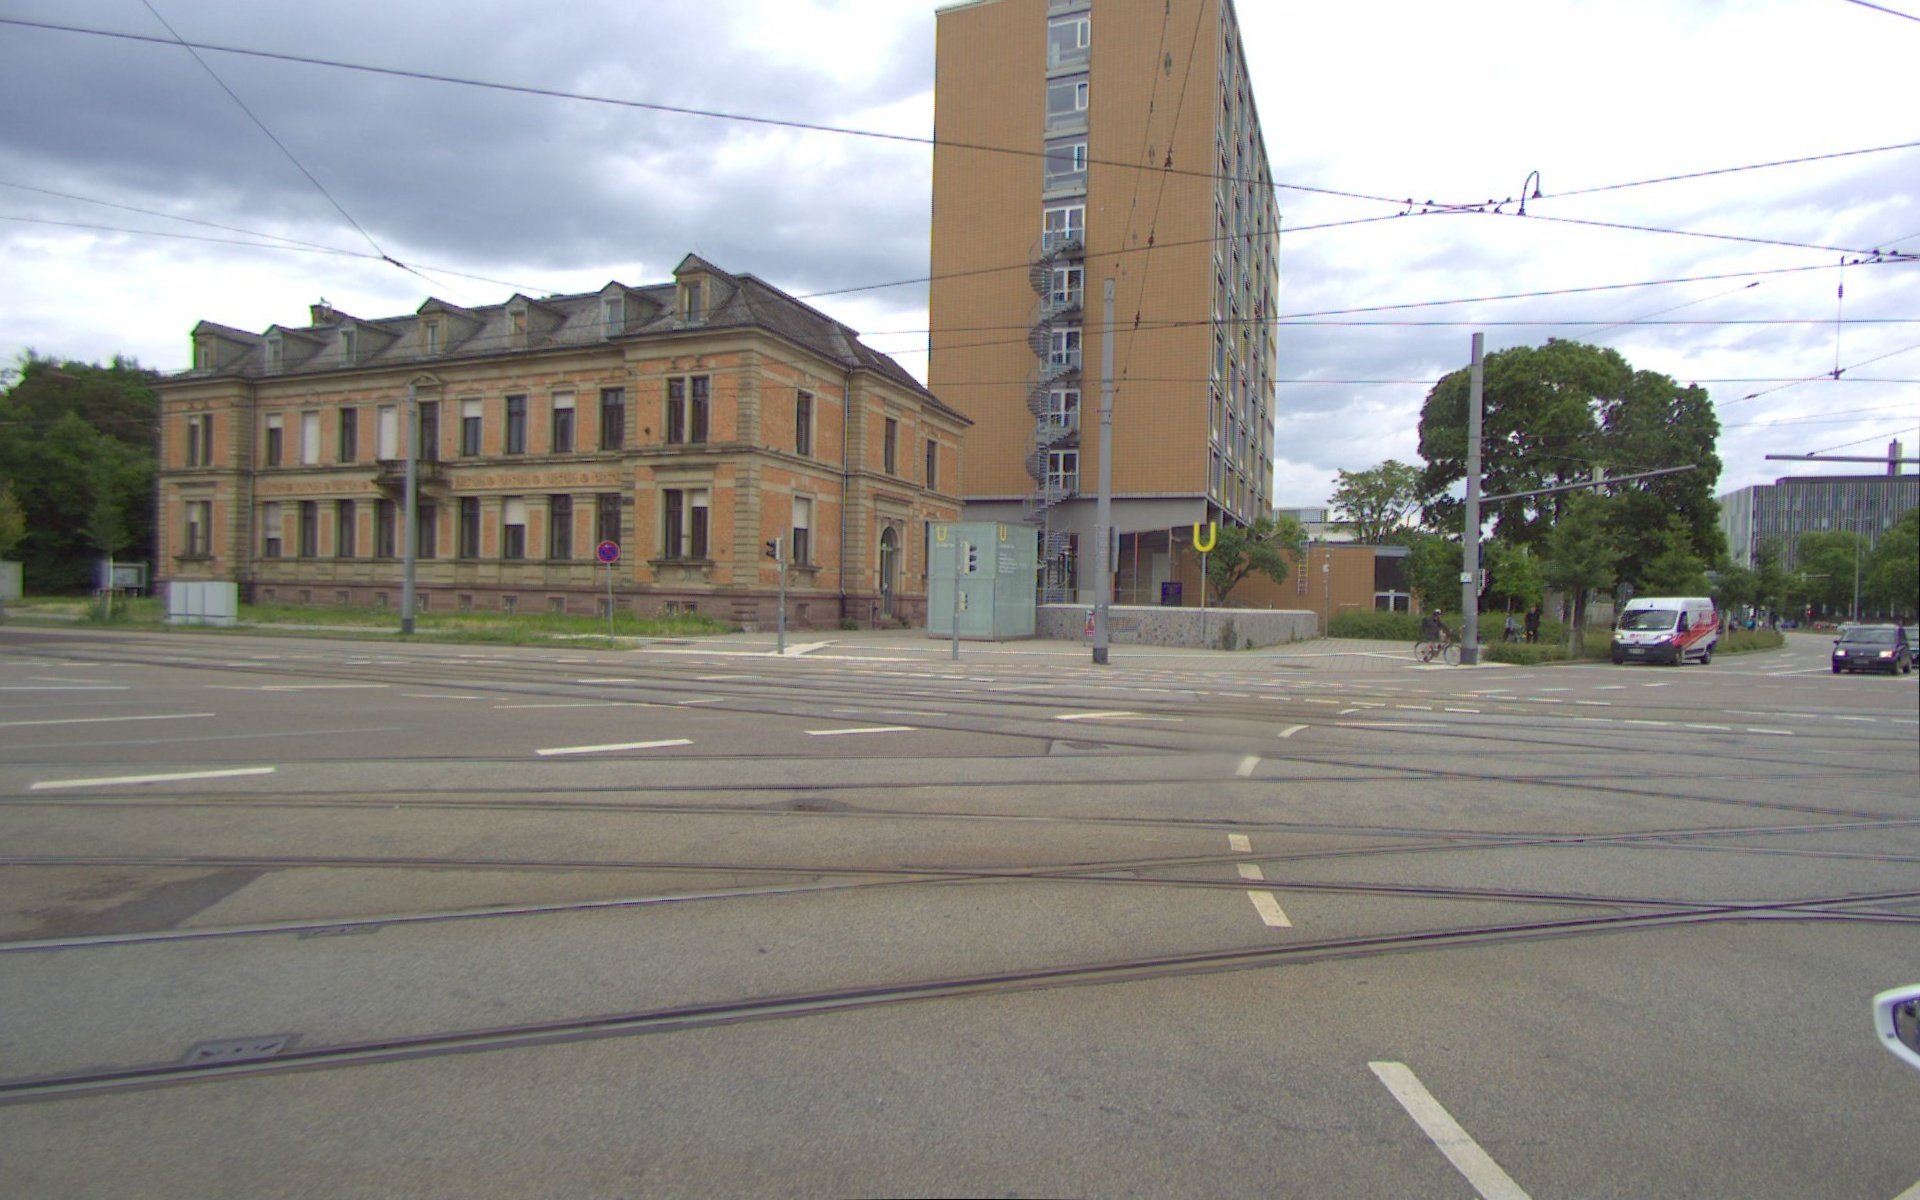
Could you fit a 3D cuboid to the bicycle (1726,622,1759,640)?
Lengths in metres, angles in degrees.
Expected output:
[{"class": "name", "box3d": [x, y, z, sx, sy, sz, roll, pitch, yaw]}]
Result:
[{"class": "bicycle", "box3d": [52.449, 2.087, 67.319, 1.874, 1.174, 0.789, 1, 0, -15]}]

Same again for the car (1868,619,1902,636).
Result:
[{"class": "car", "box3d": [105.413, 3.098, 114.501, 1.964, 1.773, 3.993, 1, 0, 29]}]

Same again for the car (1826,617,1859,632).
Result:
[{"class": "car", "box3d": [103.105, 2.883, 117.373, 1.963, 1.662, 3.994, 1, 0, 28]}]

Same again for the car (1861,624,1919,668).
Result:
[{"class": "car", "box3d": [34.418, 1.651, 36.560, 4.444, 1.528, 1.854, 1, -2, -41]}]

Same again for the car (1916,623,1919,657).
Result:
[{"class": "car", "box3d": [51.792, 2.087, 52.895, 4.679, 1.748, 1.853, 1, -1, -43]}]

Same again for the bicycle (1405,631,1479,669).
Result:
[{"class": "bicycle", "box3d": [15.941, 1.629, 33.283, 0.786, 1.042, 2.101, 0, 3, -32]}]

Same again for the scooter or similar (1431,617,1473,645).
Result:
[{"class": "scooter or similar", "box3d": [24.283, 1.523, 49.561, 1.748, 1.320, 0.628, 1, 0, 37]}]

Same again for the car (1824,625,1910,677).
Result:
[{"class": "car", "box3d": [28.865, 1.584, 31.928, 3.636, 1.535, 1.604, 1, -1, -41]}]

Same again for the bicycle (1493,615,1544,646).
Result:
[{"class": "bicycle", "box3d": [27.340, 1.506, 49.146, 2.218, 1.468, 0.846, 1, 0, -17]}]

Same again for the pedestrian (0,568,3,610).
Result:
[{"class": "pedestrian", "box3d": [-43.035, -0.510, 44.390, 0.833, 1.857, 0.809, 2, 0, 25]}]

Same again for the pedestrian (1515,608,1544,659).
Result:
[{"class": "pedestrian", "box3d": [22.890, 1.350, 40.381, 0.652, 2.007, 0.813, 1, 0, -36]}]

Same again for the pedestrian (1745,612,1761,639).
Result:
[{"class": "pedestrian", "box3d": [54.367, 1.736, 68.840, 0.761, 1.867, 0.749, 1, 0, -44]}]

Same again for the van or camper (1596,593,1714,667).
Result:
[{"class": "van or camper", "box3d": [26.009, 1.092, 37.505, 5.527, 2.561, 2.260, 1, -1, -40]}]

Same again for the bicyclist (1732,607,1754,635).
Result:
[{"class": "bicyclist", "box3d": [52.449, 1.410, 67.306, 0.819, 1.869, 0.790, 1, 0, -14]}]

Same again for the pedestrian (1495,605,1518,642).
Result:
[{"class": "pedestrian", "box3d": [26.008, 1.103, 47.805, 0.679, 1.757, 0.741, 1, 0, -36]}]

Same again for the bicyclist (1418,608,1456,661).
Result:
[{"class": "bicyclist", "box3d": [15.870, 1.130, 33.429, 0.785, 1.679, 0.808, 0, 2, -32]}]

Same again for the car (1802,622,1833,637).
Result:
[{"class": "car", "box3d": [108.087, 3.678, 126.658, 1.963, 1.704, 4.005, 1, 0, 27]}]

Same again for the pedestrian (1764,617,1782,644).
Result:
[{"class": "pedestrian", "box3d": [57.109, 2.141, 70.517, 0.663, 1.867, 0.884, 1, 0, -44]}]
